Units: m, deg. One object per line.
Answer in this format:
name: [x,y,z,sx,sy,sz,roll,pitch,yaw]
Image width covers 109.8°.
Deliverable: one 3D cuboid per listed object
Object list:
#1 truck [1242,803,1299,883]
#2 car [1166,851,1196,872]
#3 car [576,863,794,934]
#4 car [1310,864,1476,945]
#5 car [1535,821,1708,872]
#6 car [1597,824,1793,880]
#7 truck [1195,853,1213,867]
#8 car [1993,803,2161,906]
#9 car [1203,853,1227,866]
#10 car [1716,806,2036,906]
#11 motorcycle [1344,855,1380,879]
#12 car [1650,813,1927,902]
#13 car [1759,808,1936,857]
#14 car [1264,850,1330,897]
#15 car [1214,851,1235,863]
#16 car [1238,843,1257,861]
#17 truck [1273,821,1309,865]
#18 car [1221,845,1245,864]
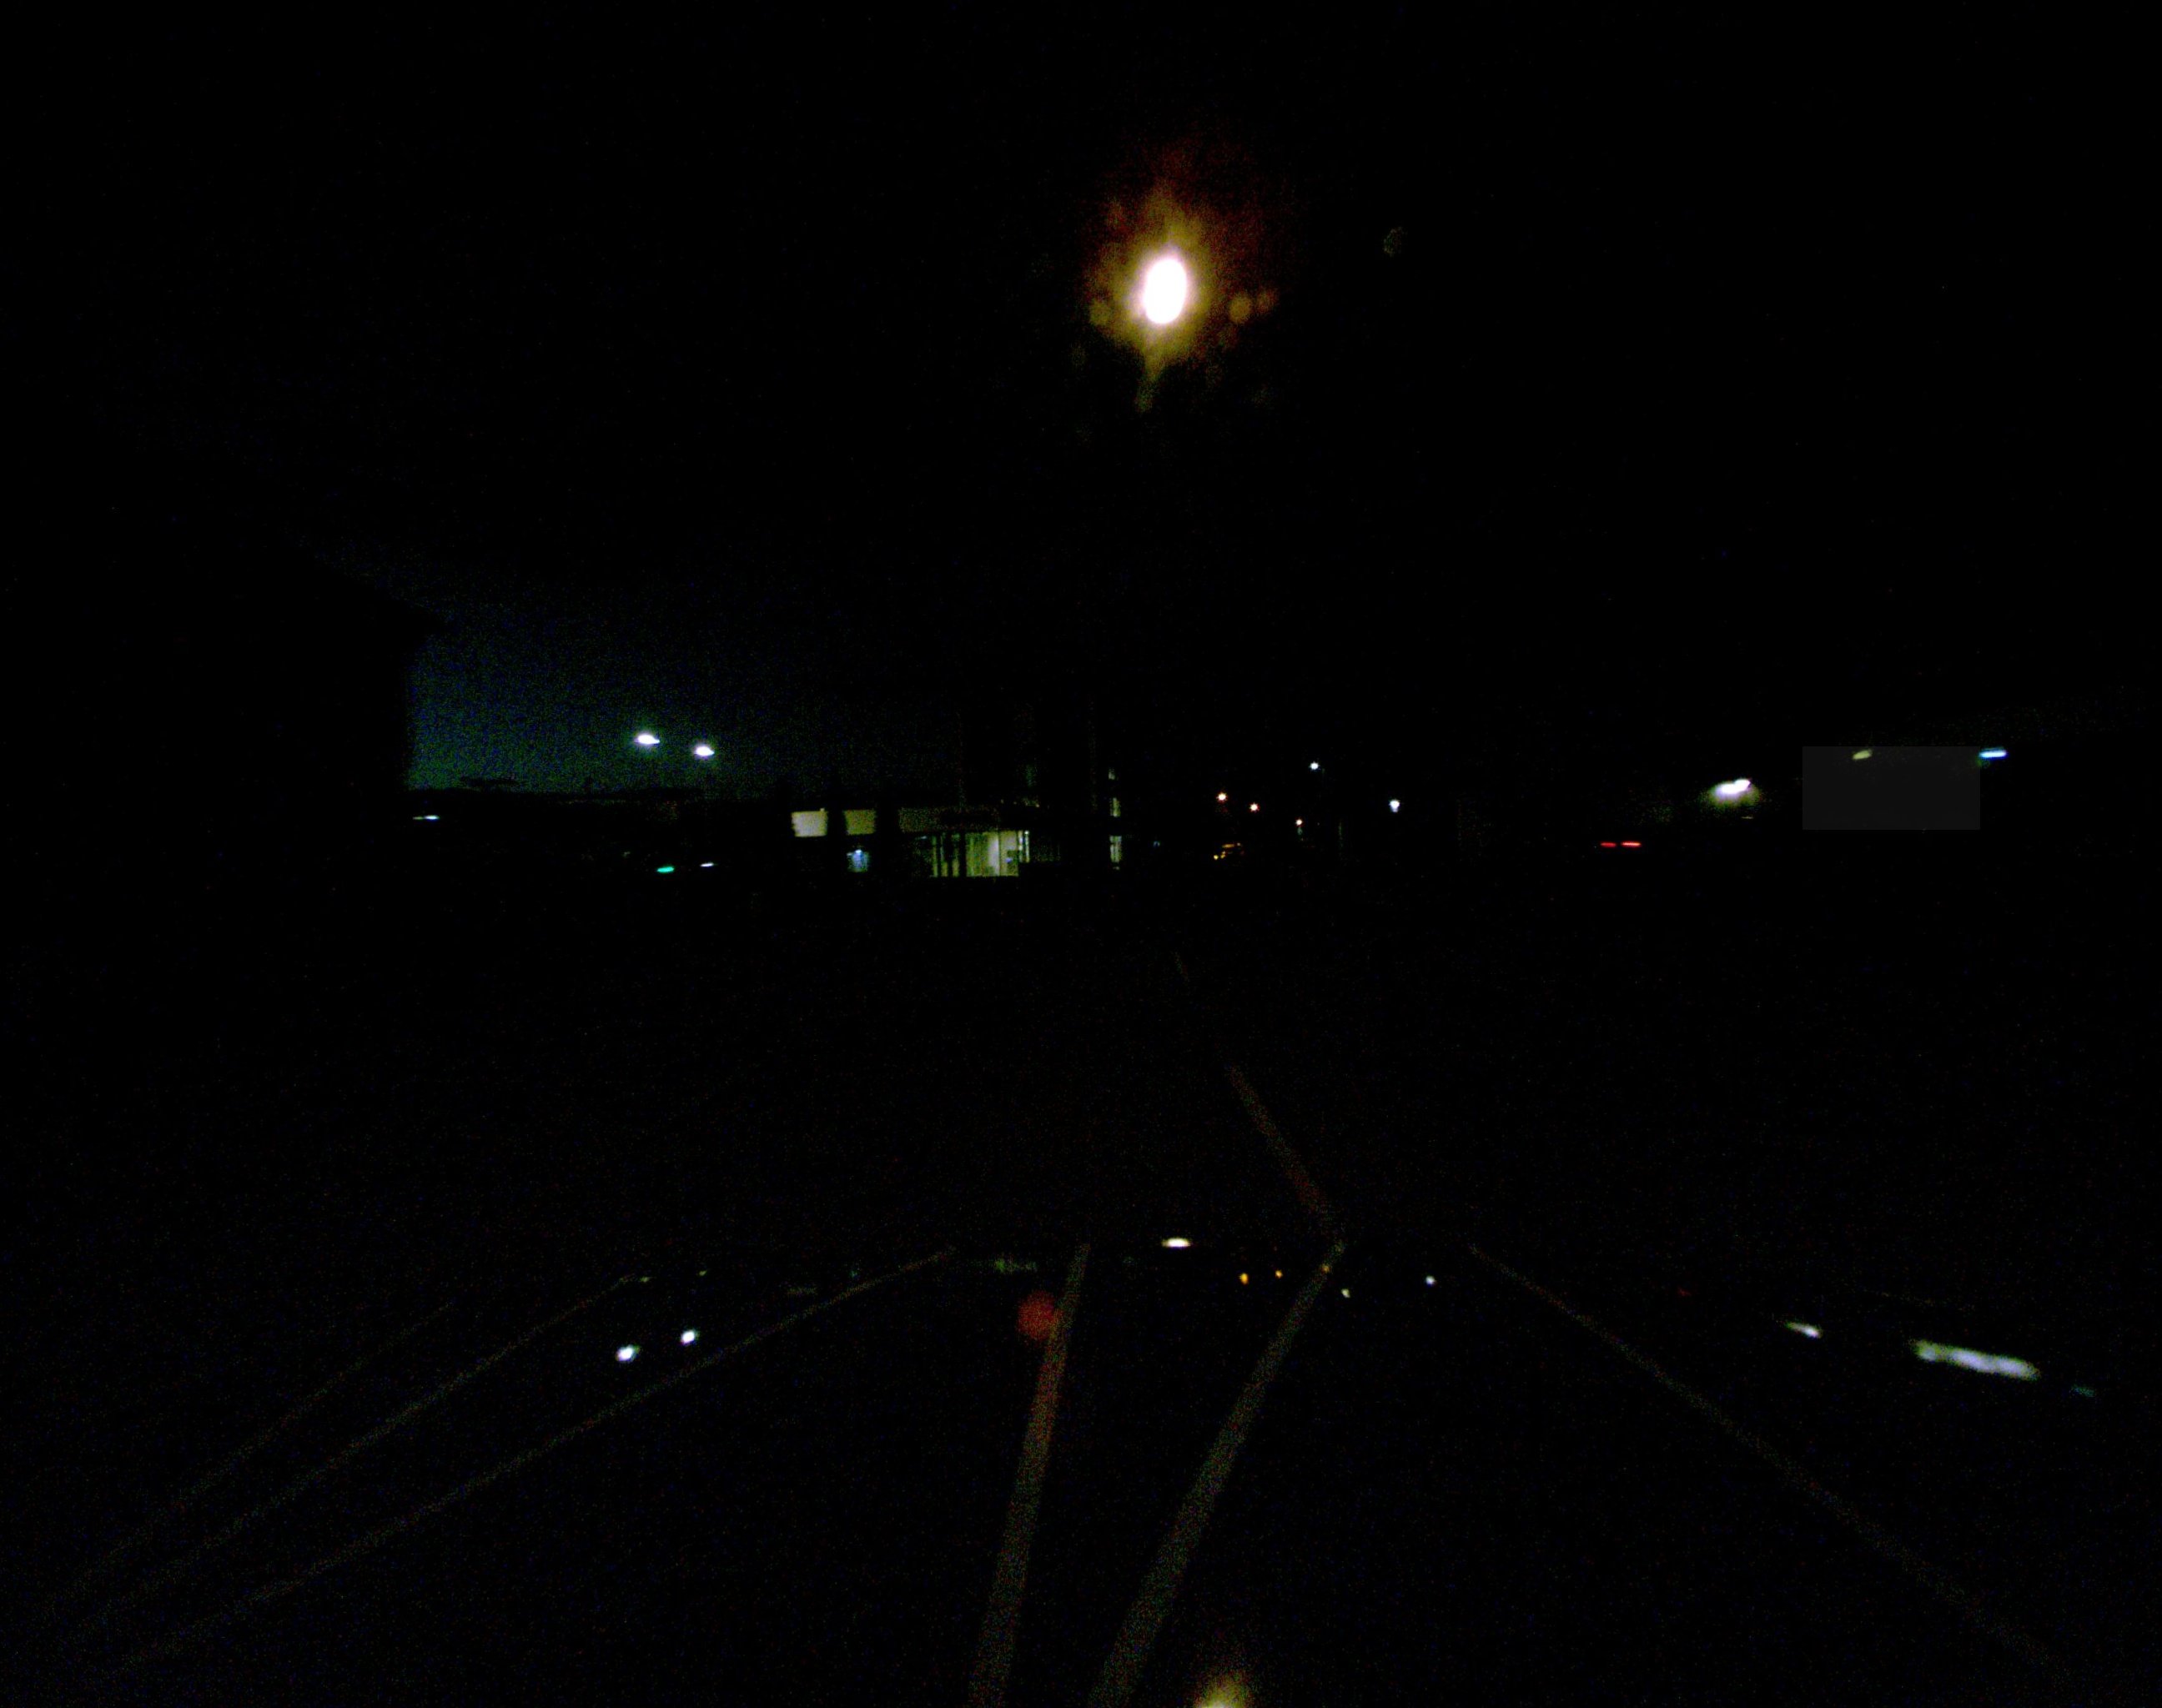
truck: [10.992,-0.614,44.233,2.776,4.096,9.350,-2,0,14]
car: [10.267,0.722,77.762,1.996,2.002,4.918,-2,0,21]
car: [-9.531,1.050,18.558,4.337,1.636,1.892,0,0,-1]
car: [6.186,0.936,15.632,1.818,1.363,4.361,0,0,3]
car: [18.220,-0.235,25.795,4.414,1.474,1.893,-3,0,4]
car: [18.816,-0.063,23.445,4.414,1.444,1.828,-3,0,4]
truck: [14.850,0.724,91.515,1.372,1.635,3.817,-2,0,20]
car: [16.585,-0.092,11.014,4.276,1.386,1.828,-3,0,4]
car: [16.895,0.723,95.616,1.948,1.480,5.018,-2,0,23]
car: [16.327,0.047,15.822,4.414,1.805,1.963,-2,0,4]
motorcycle: [14.455,0.668,39.124,1.693,1.095,0.530,-6,2,-18]
car: [16.731,0.080,18.193,4.617,1.805,1.963,-3,0,4]
car: [26.591,-0.706,26.634,1.906,1.448,4.466,-4,0,6]
car: [8.157,0.698,29.070,1.870,1.583,4.497,-2,0,9]
car: [19.313,0.367,101.911,1.771,1.404,4.557,-2,0,23]
car: [26.511,-0.283,121.092,2.131,2.555,5.917,-5,-1,18]
truck: [21.136,-1.083,76.093,2.749,4.010,9.572,-3,0,19]
car: [21.664,0.004,108.227,1.996,2.510,5.918,-5,-1,23]
